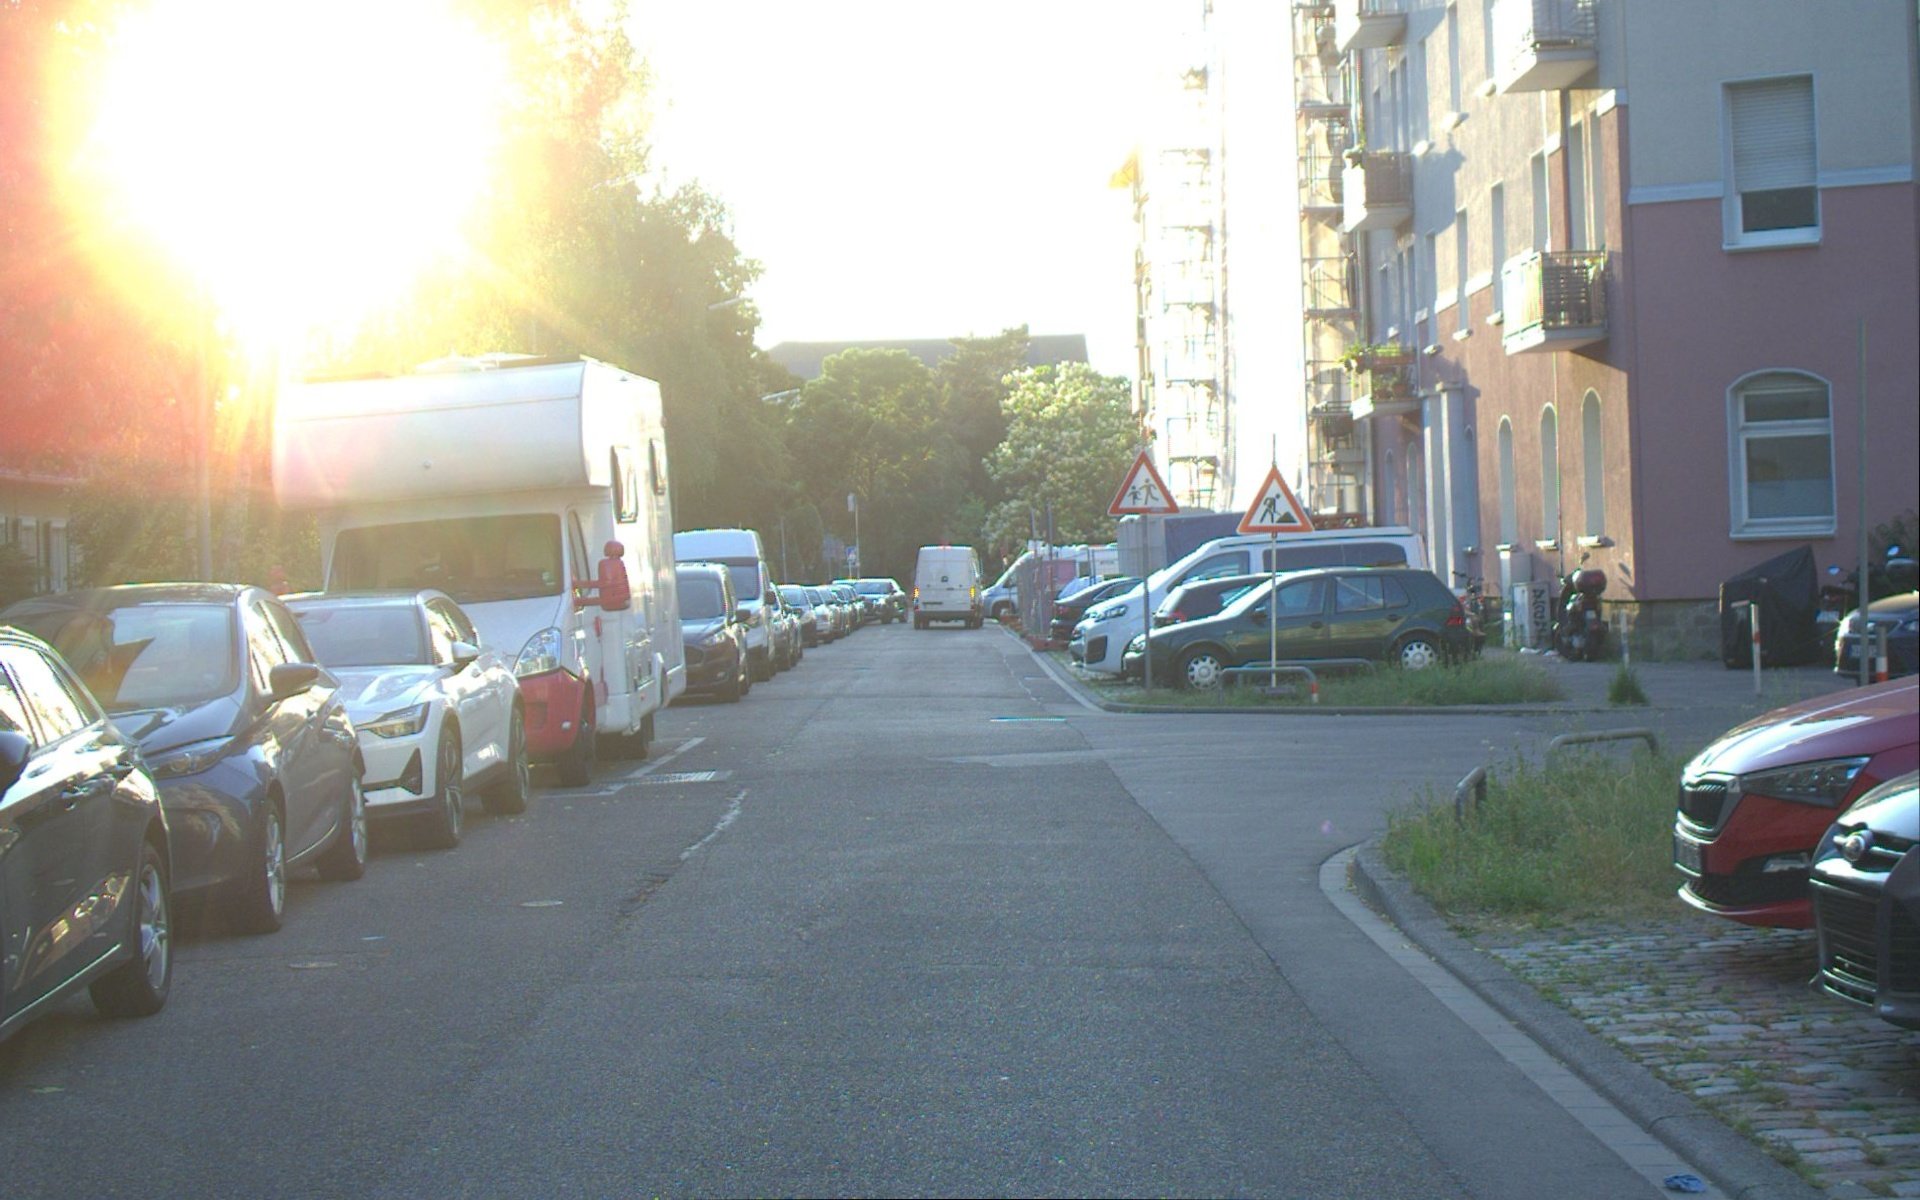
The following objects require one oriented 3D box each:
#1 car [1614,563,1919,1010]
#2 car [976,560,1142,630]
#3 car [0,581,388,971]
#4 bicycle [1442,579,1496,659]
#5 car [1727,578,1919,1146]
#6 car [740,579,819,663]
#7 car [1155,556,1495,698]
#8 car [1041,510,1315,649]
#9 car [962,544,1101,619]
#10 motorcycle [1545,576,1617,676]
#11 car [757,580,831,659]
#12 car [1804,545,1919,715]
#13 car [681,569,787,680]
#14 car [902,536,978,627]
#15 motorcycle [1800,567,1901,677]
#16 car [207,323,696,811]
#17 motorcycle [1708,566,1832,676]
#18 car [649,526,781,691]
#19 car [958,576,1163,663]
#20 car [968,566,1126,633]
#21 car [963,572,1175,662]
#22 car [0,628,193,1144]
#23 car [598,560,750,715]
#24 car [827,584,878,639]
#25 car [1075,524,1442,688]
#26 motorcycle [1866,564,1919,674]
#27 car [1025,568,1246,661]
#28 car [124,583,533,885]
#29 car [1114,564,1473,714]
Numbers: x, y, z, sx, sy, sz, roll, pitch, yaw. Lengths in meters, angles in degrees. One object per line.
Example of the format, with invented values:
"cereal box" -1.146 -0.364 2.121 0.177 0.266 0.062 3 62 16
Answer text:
"car" 4.406 0.520 12.083 3.811 1.423 1.634 -3 0 -1
"car" 2.440 -0.128 85.649 3.987 1.525 1.659 -3 0 0
"car" -3.832 0.750 16.199 1.653 1.559 3.876 -3 0 -2
"bicycle" 8.044 0.291 54.341 0.517 1.224 1.981 -1 0 0
"car" 4.259 0.558 9.519 3.811 1.423 1.634 -3 0 -1
"car" -4.172 0.487 80.084 1.653 1.824 3.876 -3 0 -2
"car" 4.518 0.331 42.960 3.987 1.525 1.659 -3 0 0
"car" 3.372 -0.319 53.760 3.986 2.007 2.000 -2 0 -4
"car" 2.553 -0.671 123.358 4.813 2.400 1.739 -3 0 0
"motorcycle" 7.912 0.321 43.857 0.517 1.224 1.981 -1 0 0
"car" -4.077 0.478 84.952 1.653 1.824 3.876 -3 0 -2
"car" 10.330 0.237 33.254 3.884 1.569 1.712 -1 0 -21
"car" -4.020 0.428 61.517 1.653 1.824 3.876 -3 0 -2
"car" -0.668 -0.575 109.675 2.128 2.708 4.833 -3 0 -2
"motorcycle" 10.260 0.243 39.547 0.518 1.224 1.978 -1 0 32
"car" -3.845 -0.231 27.860 2.620 3.258 7.696 -3 0 0
"motorcycle" 9.418 0.235 39.930 0.518 1.224 1.976 -1 0 41
"car" -3.905 0.130 55.506 1.769 2.437 5.145 -3 0 -2
"car" 1.990 0.383 69.082 3.987 1.525 1.659 -3 0 0
"car" 2.260 -0.014 89.809 3.987 1.525 1.659 -3 0 0
"car" 2.106 0.317 67.207 3.987 1.525 1.659 -3 0 0
"car" -3.582 0.861 10.474 1.653 1.430 3.876 -3 0 -2
"car" -3.656 0.467 44.439 1.653 1.824 3.876 -3 0 -2
"car" -3.801 0.392 121.802 1.653 1.824 3.876 -3 0 -2
"car" 4.086 0.078 47.547 4.813 1.961 1.739 -3 0 0
"motorcycle" 10.929 0.198 39.274 0.518 1.224 1.978 -1 0 32
"car" 3.277 0.267 64.617 3.987 1.525 1.659 -3 0 0
"car" -3.661 0.725 20.555 1.653 1.536 3.876 -3 0 0
"car" 3.898 0.449 40.643 3.987 1.525 1.659 -3 0 0
